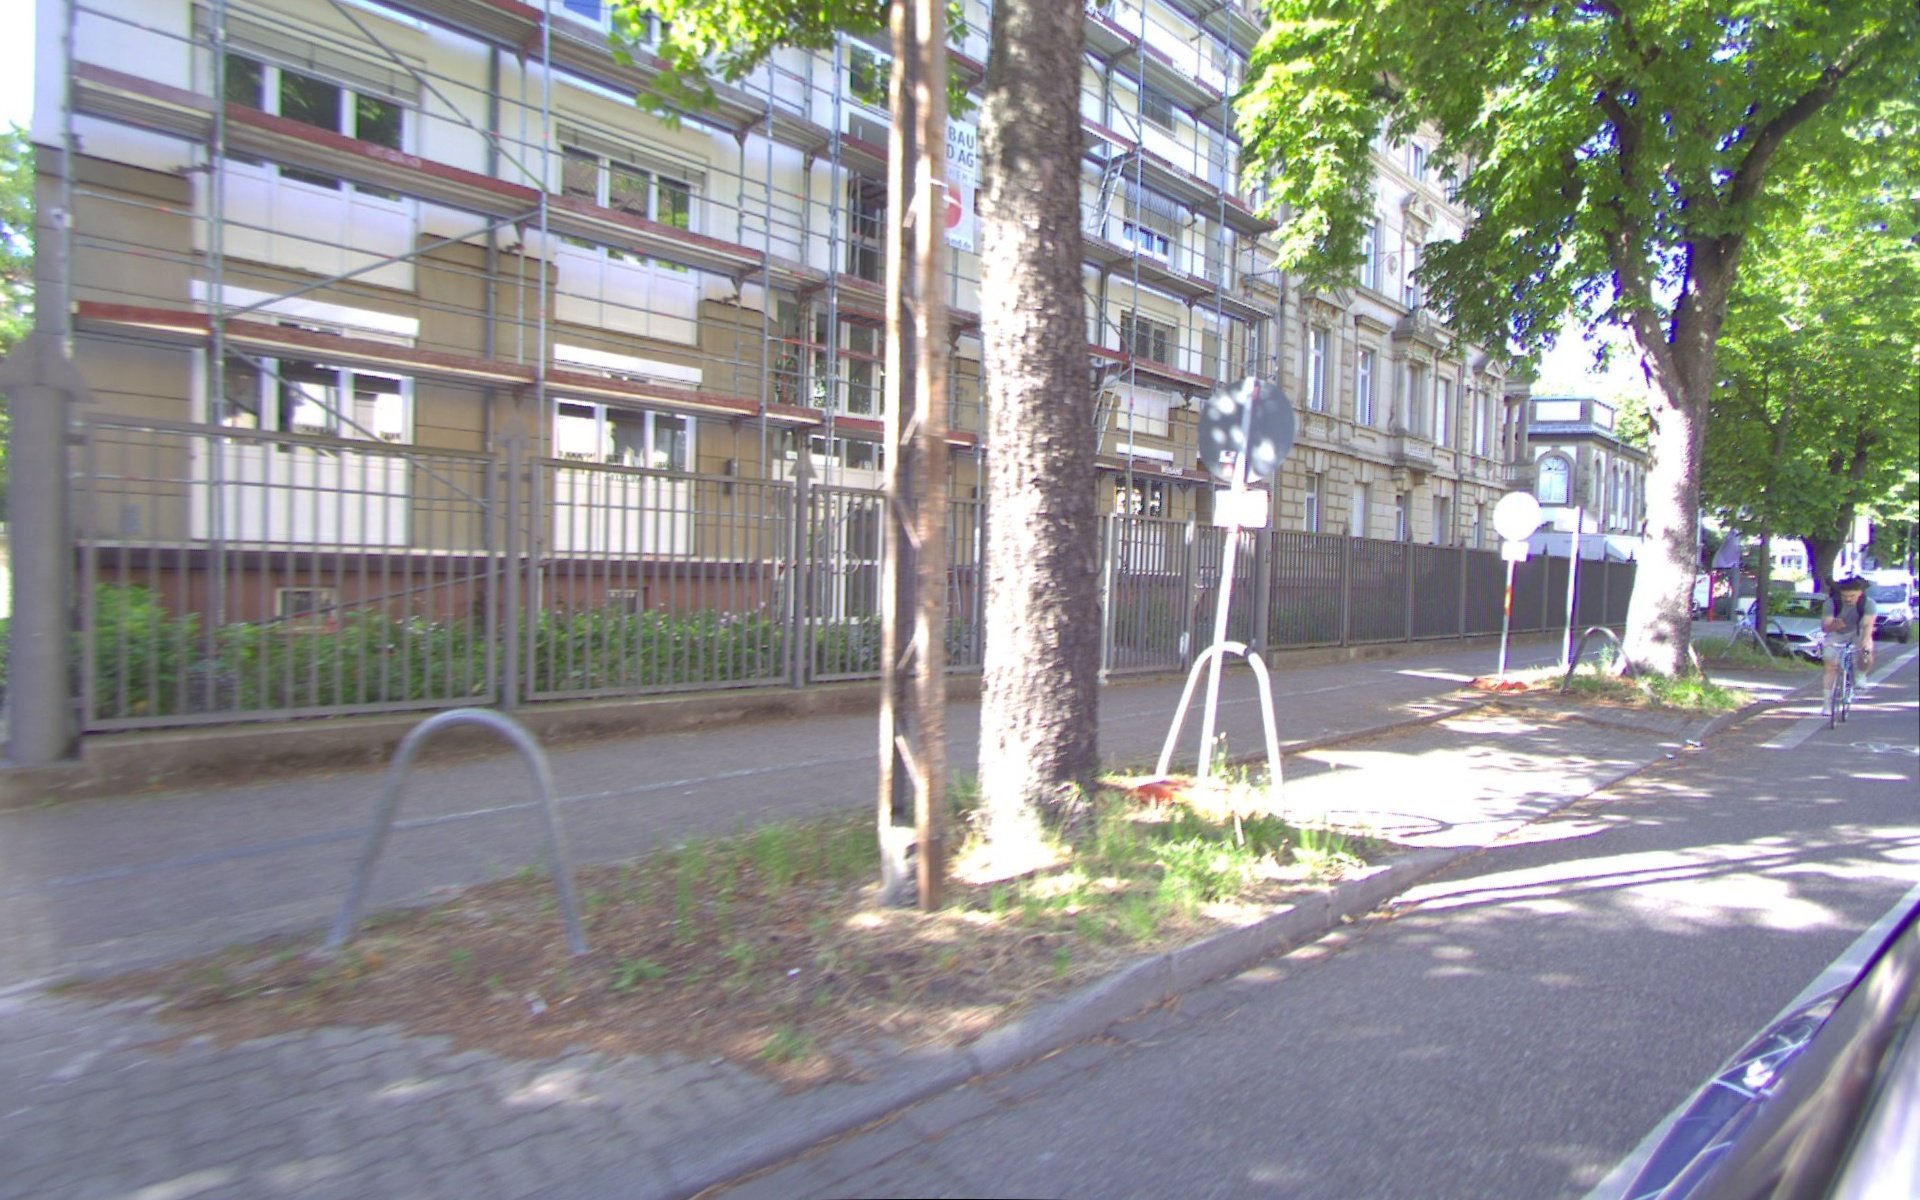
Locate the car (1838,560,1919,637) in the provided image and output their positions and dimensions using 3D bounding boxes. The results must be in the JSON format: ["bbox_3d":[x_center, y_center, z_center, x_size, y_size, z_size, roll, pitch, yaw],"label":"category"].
[{"bbox_3d":[31.722,-0.126,34.535,5.712,2.371,2.128,-1,5,-45],"label":"car"}]

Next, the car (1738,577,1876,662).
[{"bbox_3d":[18.490,0.340,22.026,4.295,1.561,1.874,-1,5,-45],"label":"car"}]

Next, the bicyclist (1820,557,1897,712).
[{"bbox_3d":[10.218,0.365,11.503,0.863,1.690,0.532,-1,1,-41],"label":"bicyclist"}]

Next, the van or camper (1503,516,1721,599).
[{"bbox_3d":[22.984,-1.471,36.169,2.078,2.659,6.753,0,2,-18],"label":"van or camper"}]

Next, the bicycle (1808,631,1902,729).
[{"bbox_3d":[10.213,0.872,11.523,2.021,0.933,0.535,-1,2,-41],"label":"bicycle"}]

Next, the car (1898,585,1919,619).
[{"bbox_3d":[47.967,0.104,50.254,4.036,1.569,1.863,-1,3,-45],"label":"car"}]
